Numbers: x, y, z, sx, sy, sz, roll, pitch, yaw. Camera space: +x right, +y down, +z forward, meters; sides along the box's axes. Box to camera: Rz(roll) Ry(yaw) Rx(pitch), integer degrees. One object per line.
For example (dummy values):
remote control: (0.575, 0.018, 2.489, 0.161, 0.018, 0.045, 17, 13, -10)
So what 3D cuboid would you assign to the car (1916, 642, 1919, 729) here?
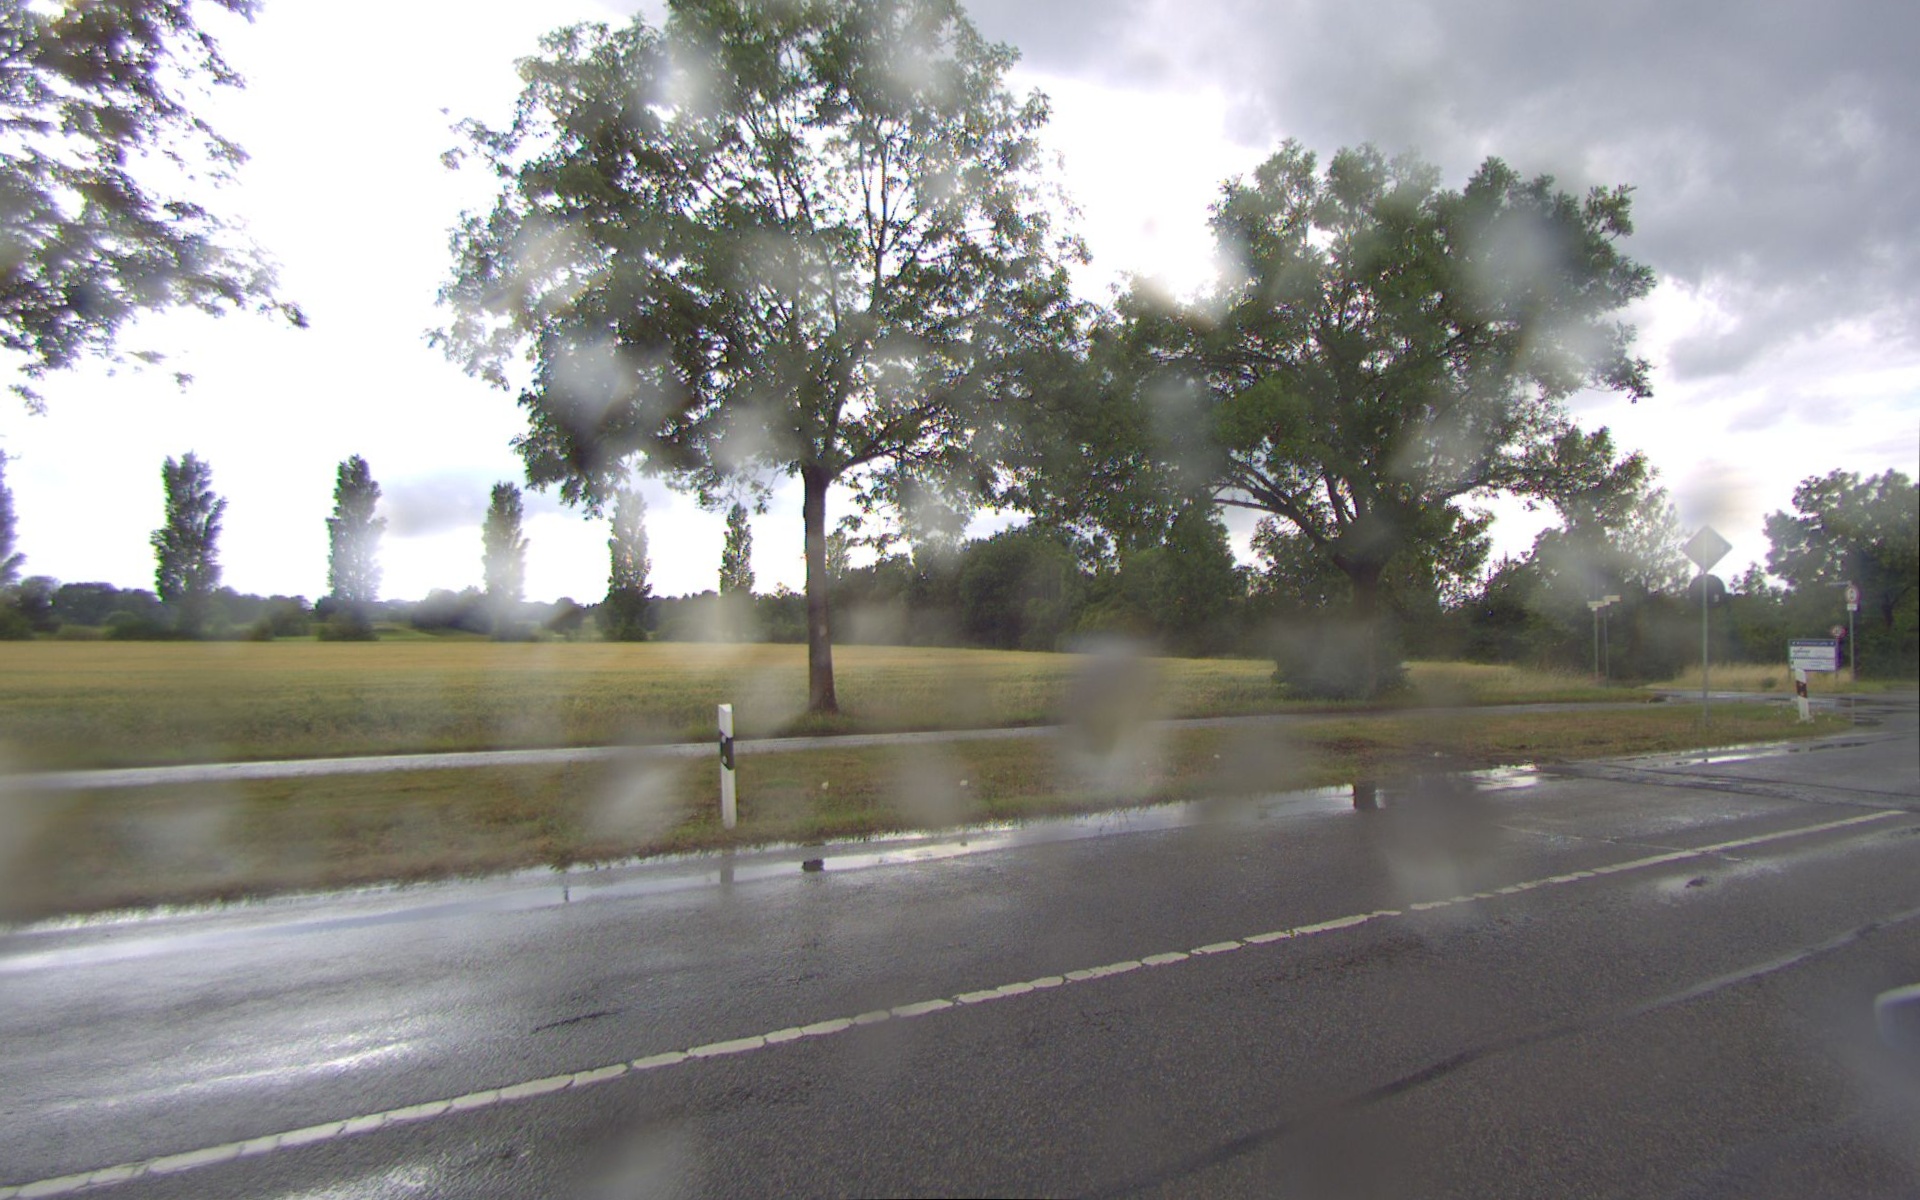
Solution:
car: (17.097, 1.368, 15.968, 3.997, 1.422, 1.712, 2, -3, -31)
